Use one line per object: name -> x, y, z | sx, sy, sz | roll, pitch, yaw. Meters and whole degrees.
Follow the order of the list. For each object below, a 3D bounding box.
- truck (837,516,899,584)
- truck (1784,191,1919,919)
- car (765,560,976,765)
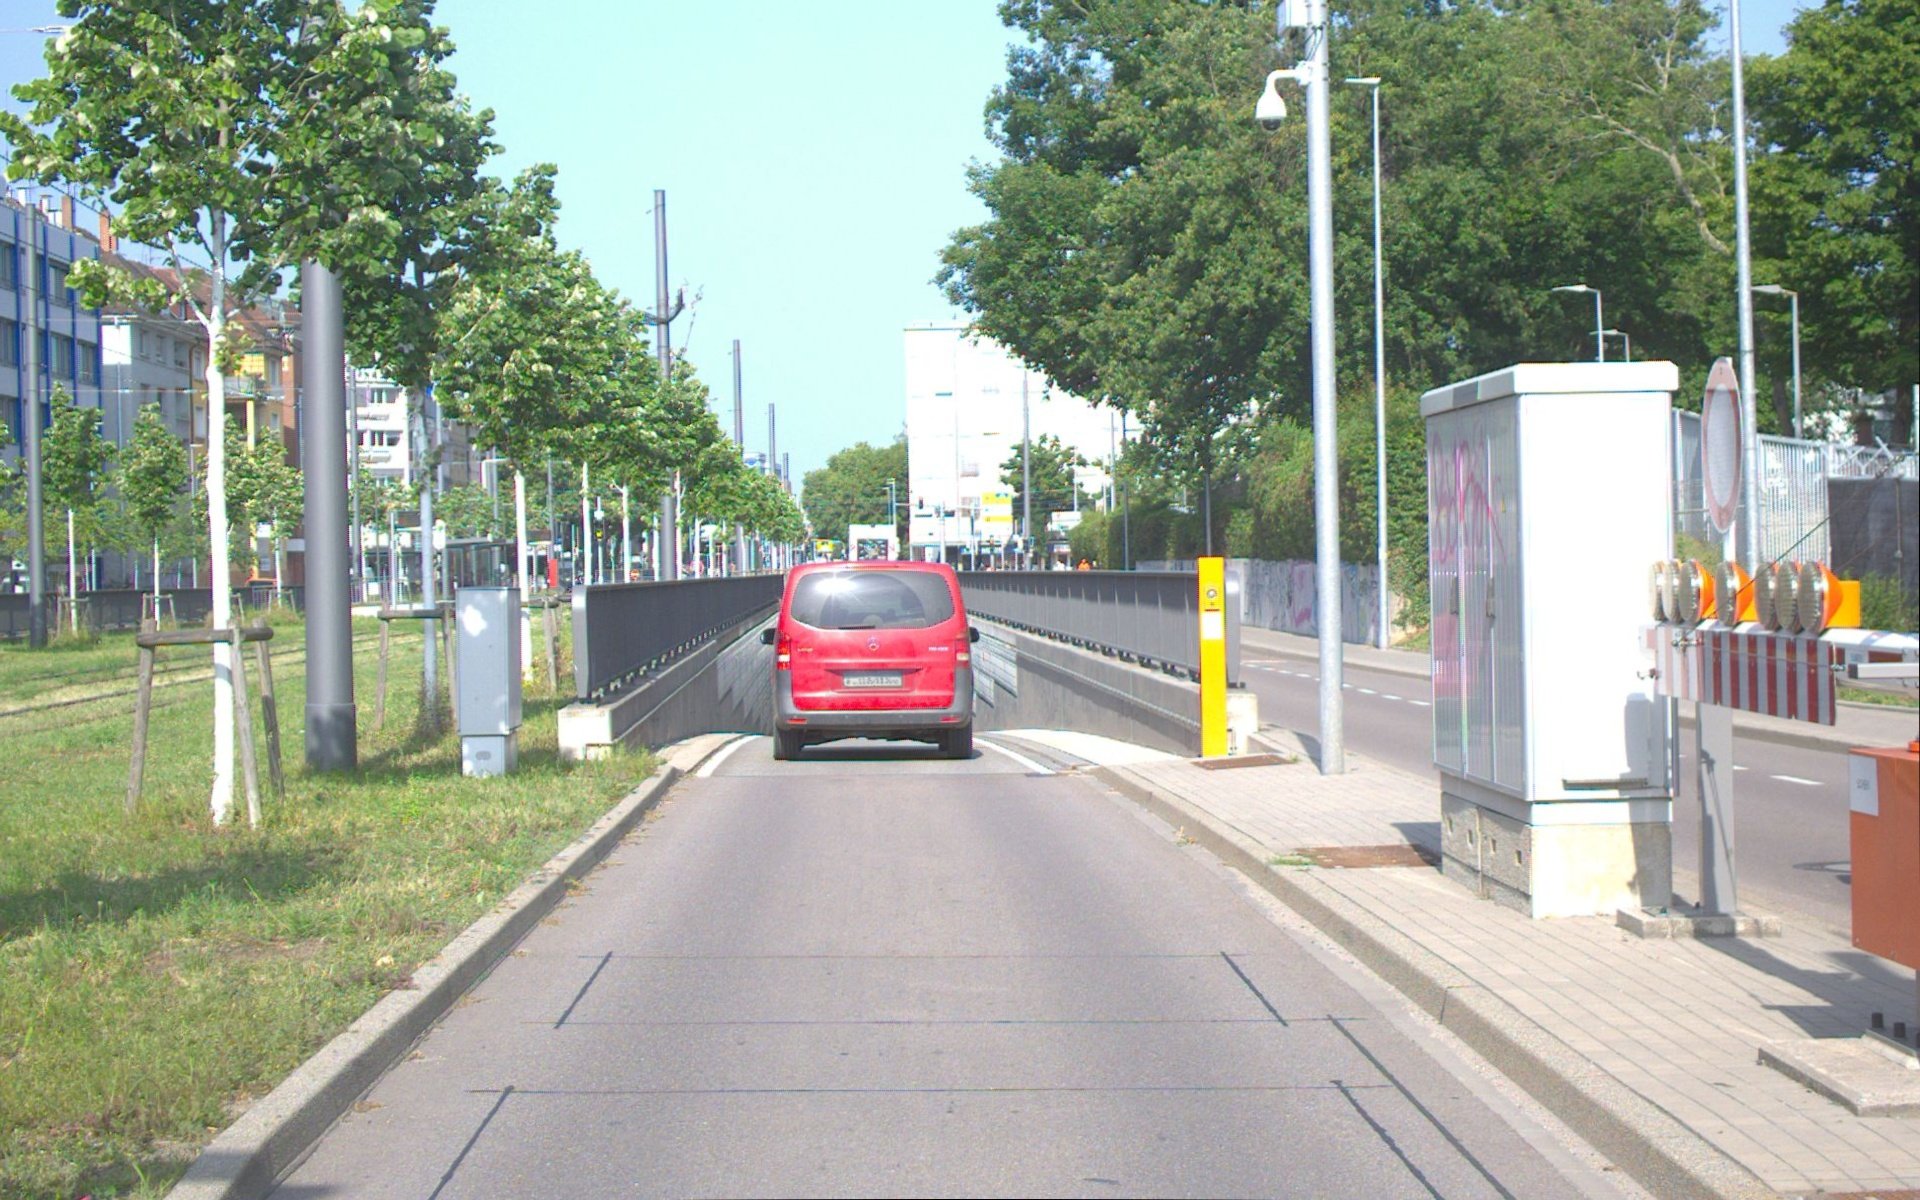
truck -> -5.353, -2.854, 198.051 | 3.390, 3.713, 10.452 | -1, 1, -2
truck -> 5.336, -0.172, 12.515 | 2.502, 3.050, 7.821 | 1, 0, -2
car -> -0.821, 0.546, 33.345 | 1.901, 1.853, 4.000 | 1, 1, 0
